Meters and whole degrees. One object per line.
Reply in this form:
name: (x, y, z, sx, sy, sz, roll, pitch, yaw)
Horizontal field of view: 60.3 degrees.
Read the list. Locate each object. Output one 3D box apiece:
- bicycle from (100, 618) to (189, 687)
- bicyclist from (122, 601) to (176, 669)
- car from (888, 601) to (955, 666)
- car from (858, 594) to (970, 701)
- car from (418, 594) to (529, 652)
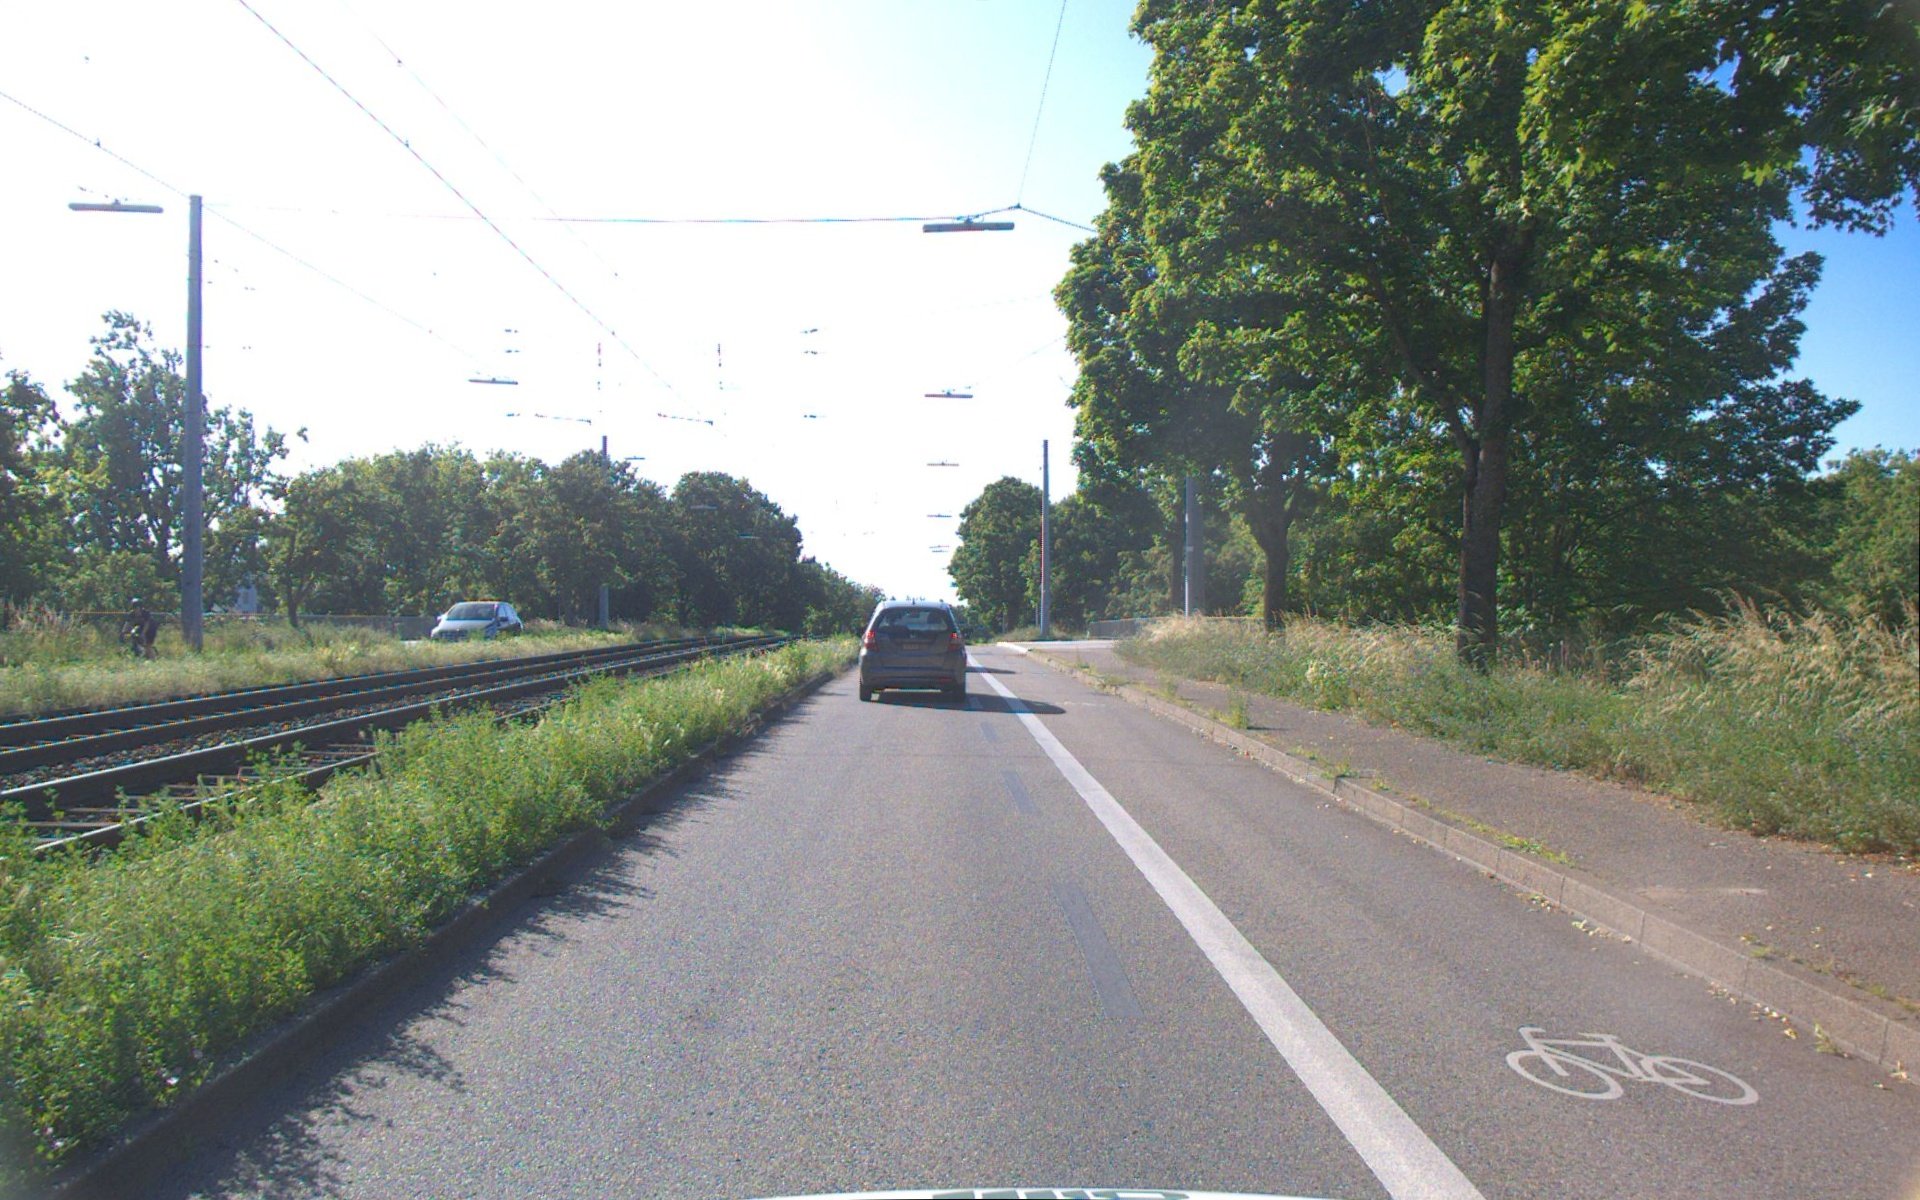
bicycle: (-16.366, 1.039, 33.276, 0.578, 1.283, 2.427, 1, 0, -1)
bicyclist: (-16.348, 0.702, 33.346, 0.570, 1.333, 0.987, 1, 0, -1)
car: (-0.961, 0.825, 42.483, 1.621, 1.534, 3.810, 2, 0, -1)
car: (-0.730, 0.703, 26.507, 1.636, 1.534, 3.810, 2, 0, -1)
car: (-13.609, 0.607, 46.534, 1.772, 1.515, 4.406, 2, 0, 0)
